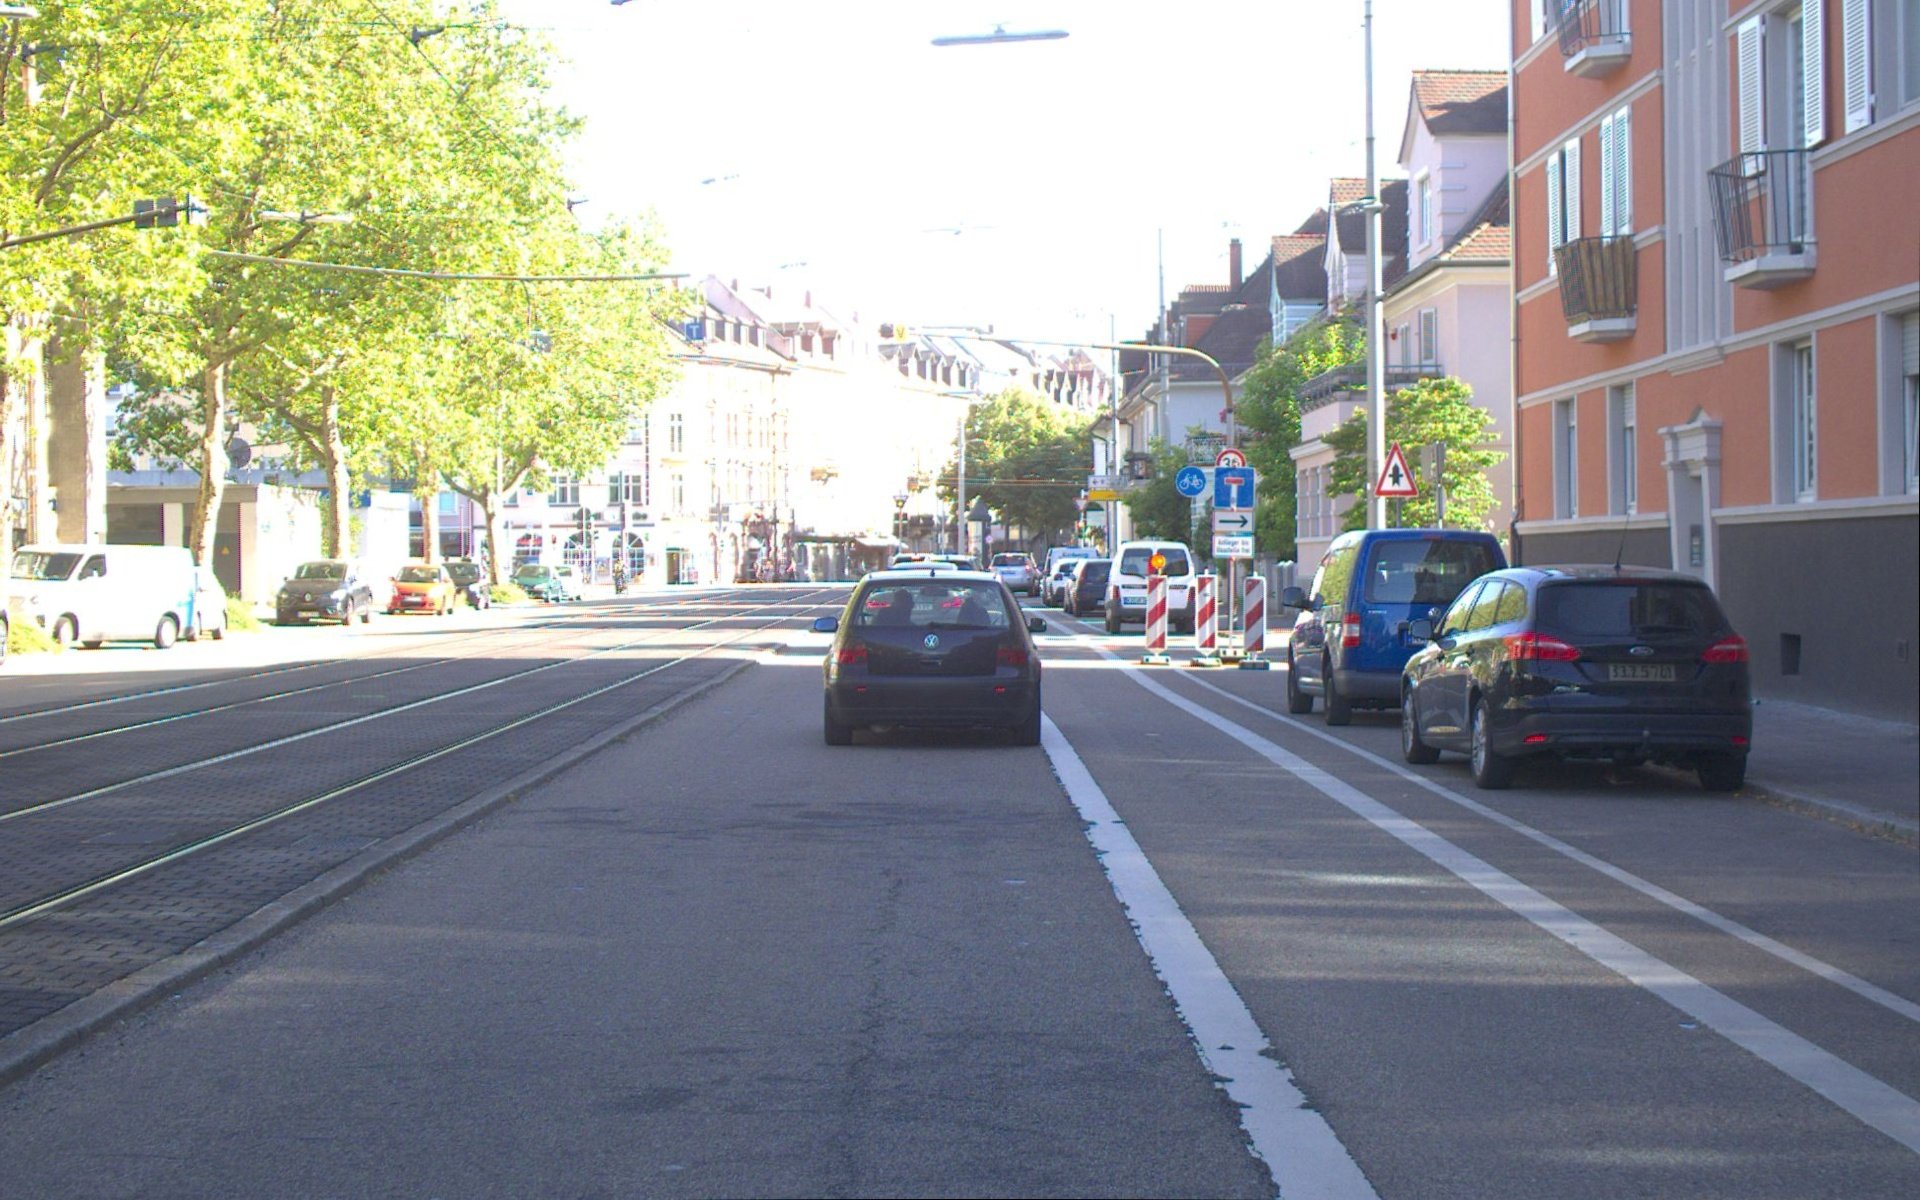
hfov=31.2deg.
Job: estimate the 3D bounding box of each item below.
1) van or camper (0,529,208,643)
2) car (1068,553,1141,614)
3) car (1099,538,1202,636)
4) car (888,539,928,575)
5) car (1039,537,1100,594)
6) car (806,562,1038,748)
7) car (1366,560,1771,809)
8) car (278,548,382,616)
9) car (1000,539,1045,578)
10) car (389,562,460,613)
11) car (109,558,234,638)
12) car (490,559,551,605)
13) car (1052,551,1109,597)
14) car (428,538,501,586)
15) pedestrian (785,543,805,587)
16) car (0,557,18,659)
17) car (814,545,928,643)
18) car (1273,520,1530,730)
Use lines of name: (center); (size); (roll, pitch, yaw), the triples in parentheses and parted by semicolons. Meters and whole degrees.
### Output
van or camper: (-15.937, -0.285, 62.214); (2.062, 1.943, 5.184); (2, 1, 20)
car: (3.663, -0.442, 87.644); (1.661, 1.520, 4.036); (0, 1, 0)
car: (3.737, -0.287, 67.883); (1.759, 1.831, 3.548); (2, 1, 0)
car: (-2.257, -1.865, 150.310); (1.636, 1.467, 3.729); (-3, 1, 0)
car: (3.503, -1.103, 110.256); (1.817, 1.793, 4.000); (0, 1, 0)
car: (-0.345, 0.396, 28.110); (1.748, 1.370, 4.000); (0, 1, -2)
car: (4.123, 0.509, 24.082); (1.753, 1.506, 4.763); (2, 1, -3)
car: (-15.805, -0.467, 86.397); (1.888, 1.660, 4.000); (0, 1, 0)
car: (2.393, -1.613, 132.416); (1.636, 1.467, 3.729); (0, 1, 0)
car: (-16.032, -0.366, 103.020); (1.570, 1.528, 3.572); (0, 0, 0)
car: (-15.945, -0.066, 69.679); (1.574, 1.502, 4.090); (2, 1, 0)
car: (-16.834, -0.710, 131.903); (1.883, 1.663, 3.805); (2, 1, -1)
car: (3.689, -0.817, 105.524); (1.580, 1.370, 4.000); (0, 1, 0)
car: (-16.192, -1.261, 112.491); (1.792, 1.460, 3.836); (3, 1, 0)
pedestrian: (-10.166, -2.165, 211.648); (1.095, 2.650, 0.959); (2, 1, -1)
car: (-15.810, 0.130, 51.866); (2.011, 1.567, 4.694); (2, 1, -2)
car: (-1.439, -0.127, 56.659); (1.748, 1.532, 3.892); (0, 1, 0)
car: (4.090, 0.186, 32.477); (1.702, 1.804, 4.272); (2, 1, -2)
